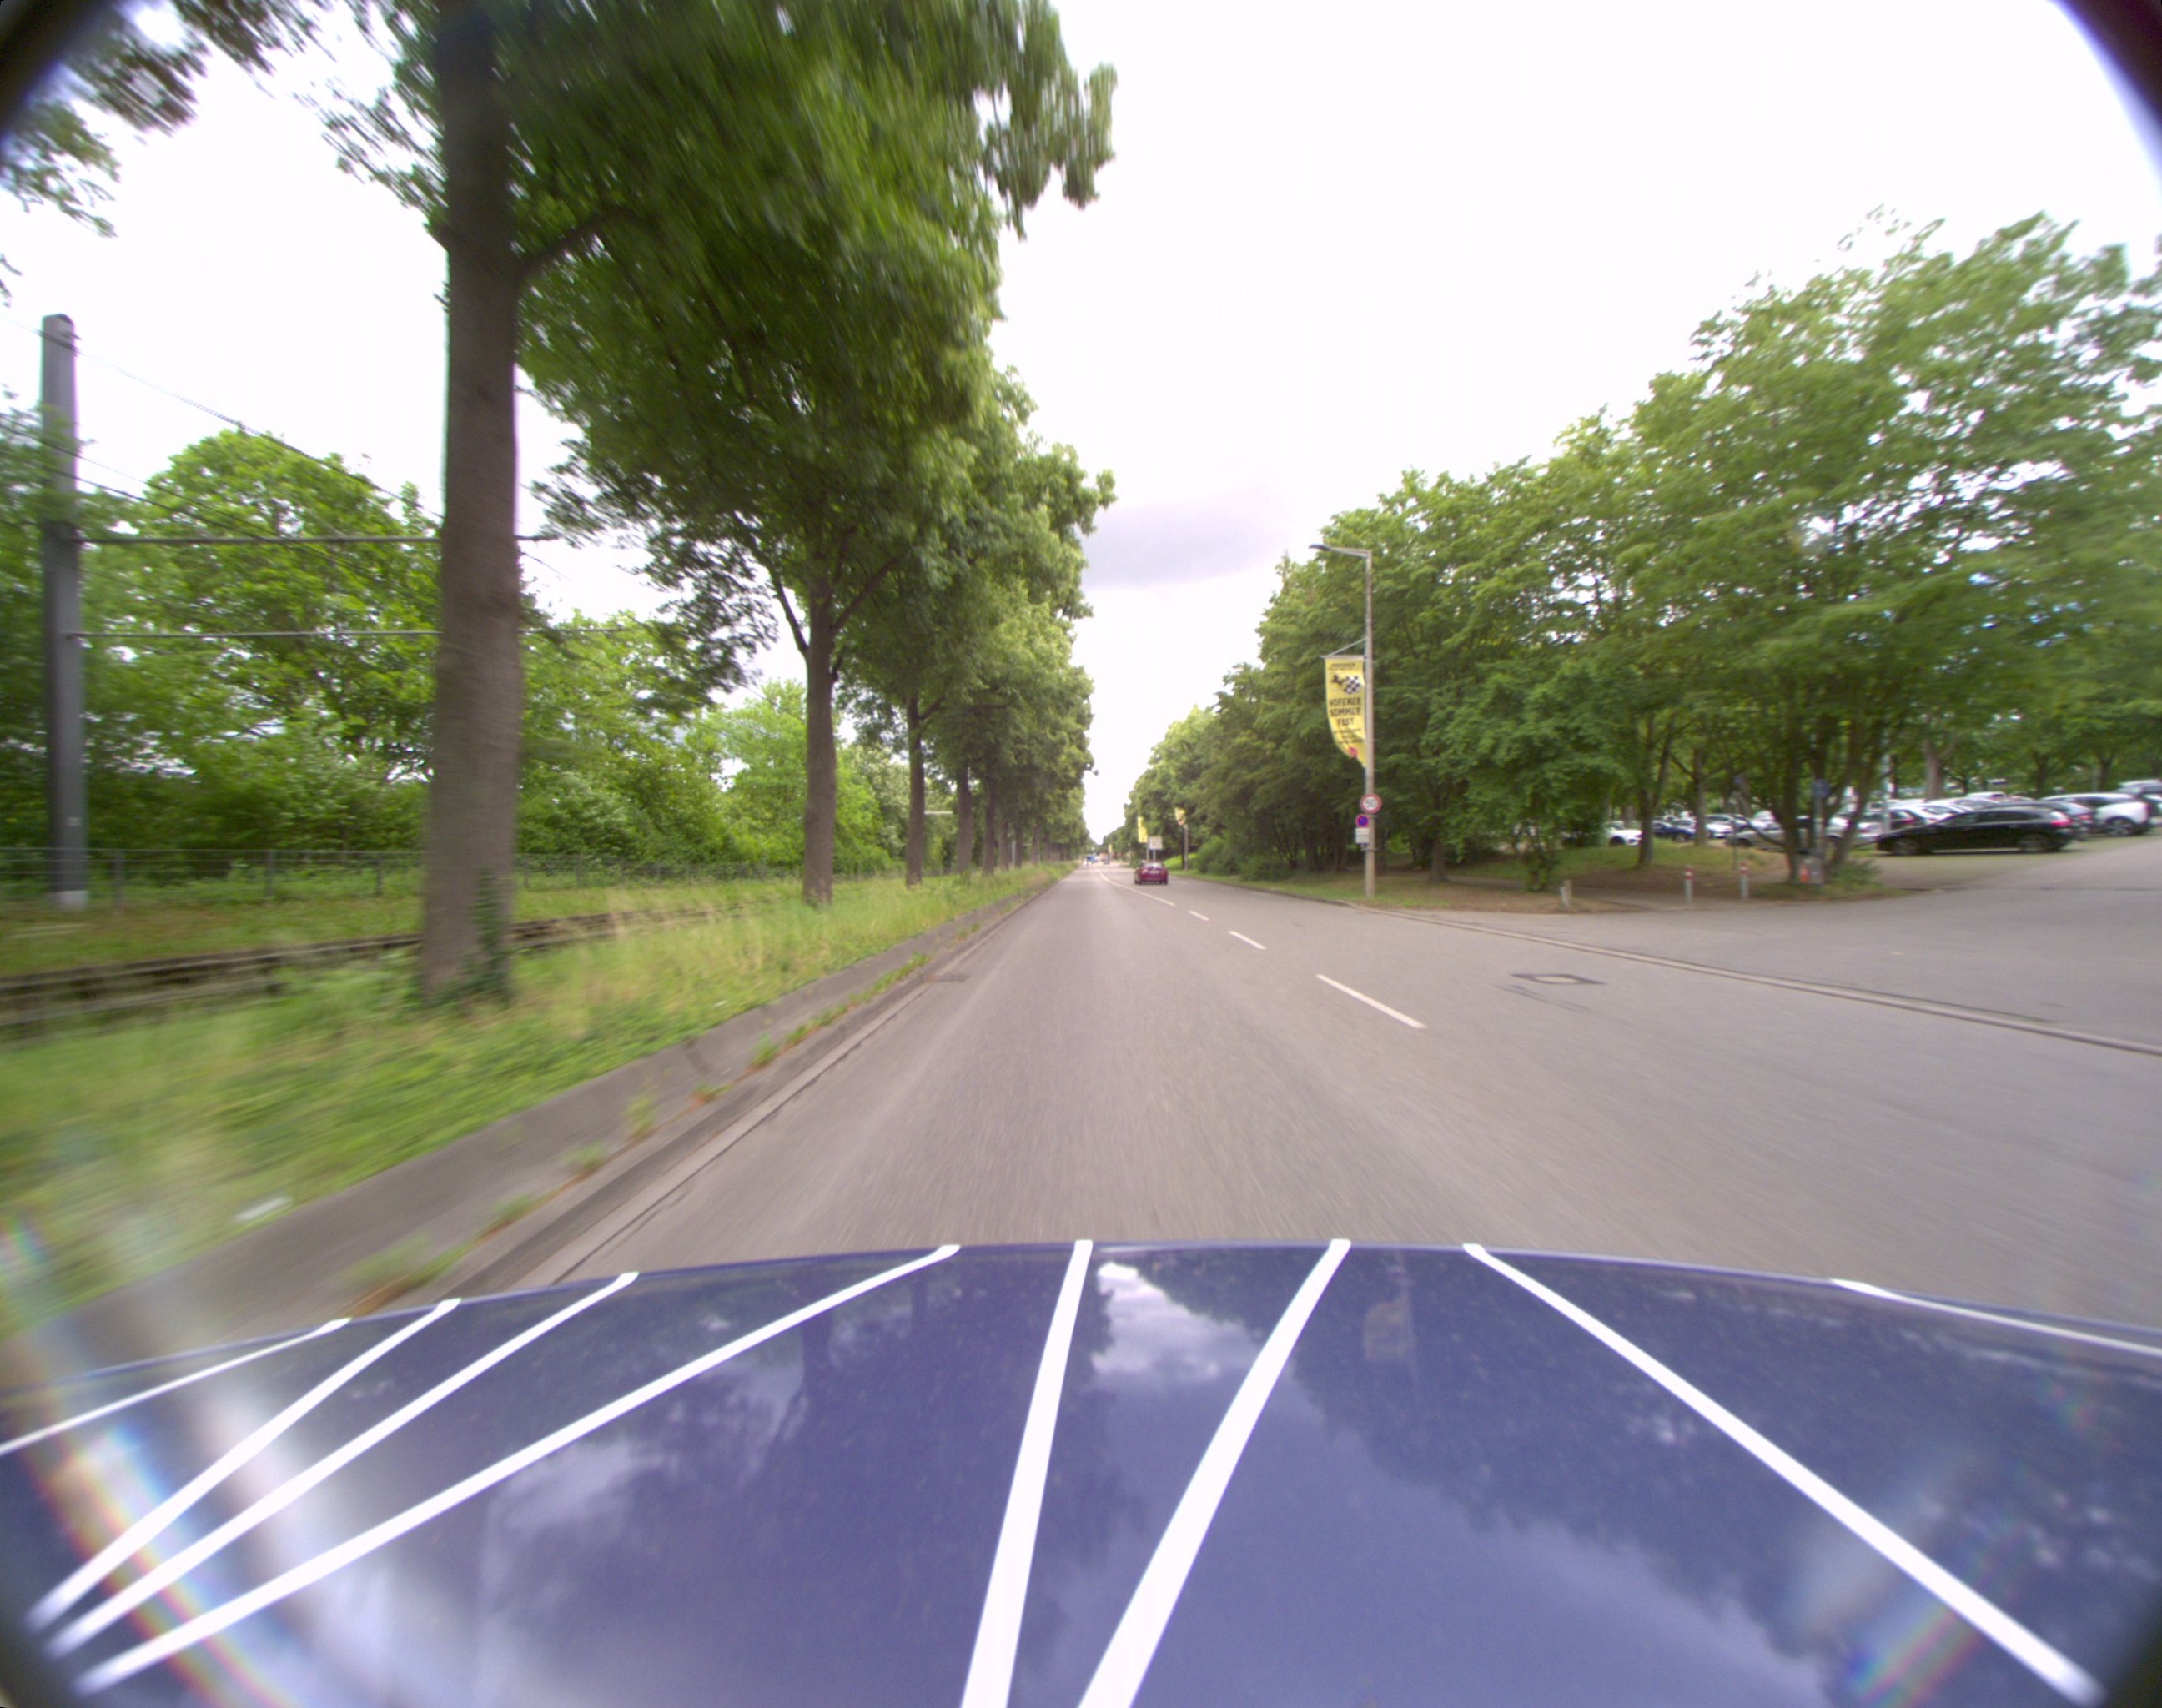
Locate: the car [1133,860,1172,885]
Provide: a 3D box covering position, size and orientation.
[{"bbox_3d":[4.254,1.066,45.751,1.721,1.420,4.195,0,0,-3],"label":"car"}]

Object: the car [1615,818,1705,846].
[{"bbox_3d":[35.129,-1.336,46.199,1.653,1.477,3.993,-2,0,-23],"label":"car"}]

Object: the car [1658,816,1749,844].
[{"bbox_3d":[38.256,-1.465,46.793,1.653,1.477,3.993,-2,0,-23],"label":"car"}]

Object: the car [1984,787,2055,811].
[{"bbox_3d":[92.785,-5.412,75.170,1.905,2.047,3.978,-2,0,-24],"label":"car"}]

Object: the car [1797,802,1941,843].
[{"bbox_3d":[34.014,-1.328,32.939,1.653,1.477,3.993,-2,0,-23],"label":"car"}]

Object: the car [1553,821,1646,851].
[{"bbox_3d":[29.053,-0.999,42.697,1.653,1.477,3.993,-2,0,-23],"label":"car"}]

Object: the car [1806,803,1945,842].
[{"bbox_3d":[35.735,-1.397,34.305,1.653,1.477,3.993,-2,0,-23],"label":"car"}]

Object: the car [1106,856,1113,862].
[{"bbox_3d":[8.312,1.459,224.604,1.998,1.944,5.184,-1,0,1],"label":"car"}]

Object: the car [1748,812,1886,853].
[{"bbox_3d":[29.412,-0.830,30.478,1.651,1.372,3.580,-4,1,-26],"label":"car"}]

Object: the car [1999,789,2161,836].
[{"bbox_3d":[36.034,-1.463,27.412,1.541,1.407,3.374,-4,0,-21],"label":"car"}]

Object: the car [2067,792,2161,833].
[{"bbox_3d":[42.595,-1.700,30.095,1.653,1.477,3.993,-2,0,-23],"label":"car"}]

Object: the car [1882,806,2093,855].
[{"bbox_3d":[29.207,-0.720,24.677,1.443,1.332,4.117,-4,0,-21],"label":"car"}]

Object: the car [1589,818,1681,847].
[{"bbox_3d":[31.824,-1.202,43.762,1.653,1.477,3.993,-2,0,-23],"label":"car"}]

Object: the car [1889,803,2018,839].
[{"bbox_3d":[40.131,-1.484,35.032,1.651,1.346,3.580,-4,0,-26],"label":"car"}]

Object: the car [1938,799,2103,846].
[{"bbox_3d":[33.362,-1.094,27.093,1.541,1.407,3.374,-4,0,-21],"label":"car"}]

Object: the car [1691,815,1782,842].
[{"bbox_3d":[40.958,-1.575,47.591,1.653,1.477,3.993,-2,0,-23],"label":"car"}]
